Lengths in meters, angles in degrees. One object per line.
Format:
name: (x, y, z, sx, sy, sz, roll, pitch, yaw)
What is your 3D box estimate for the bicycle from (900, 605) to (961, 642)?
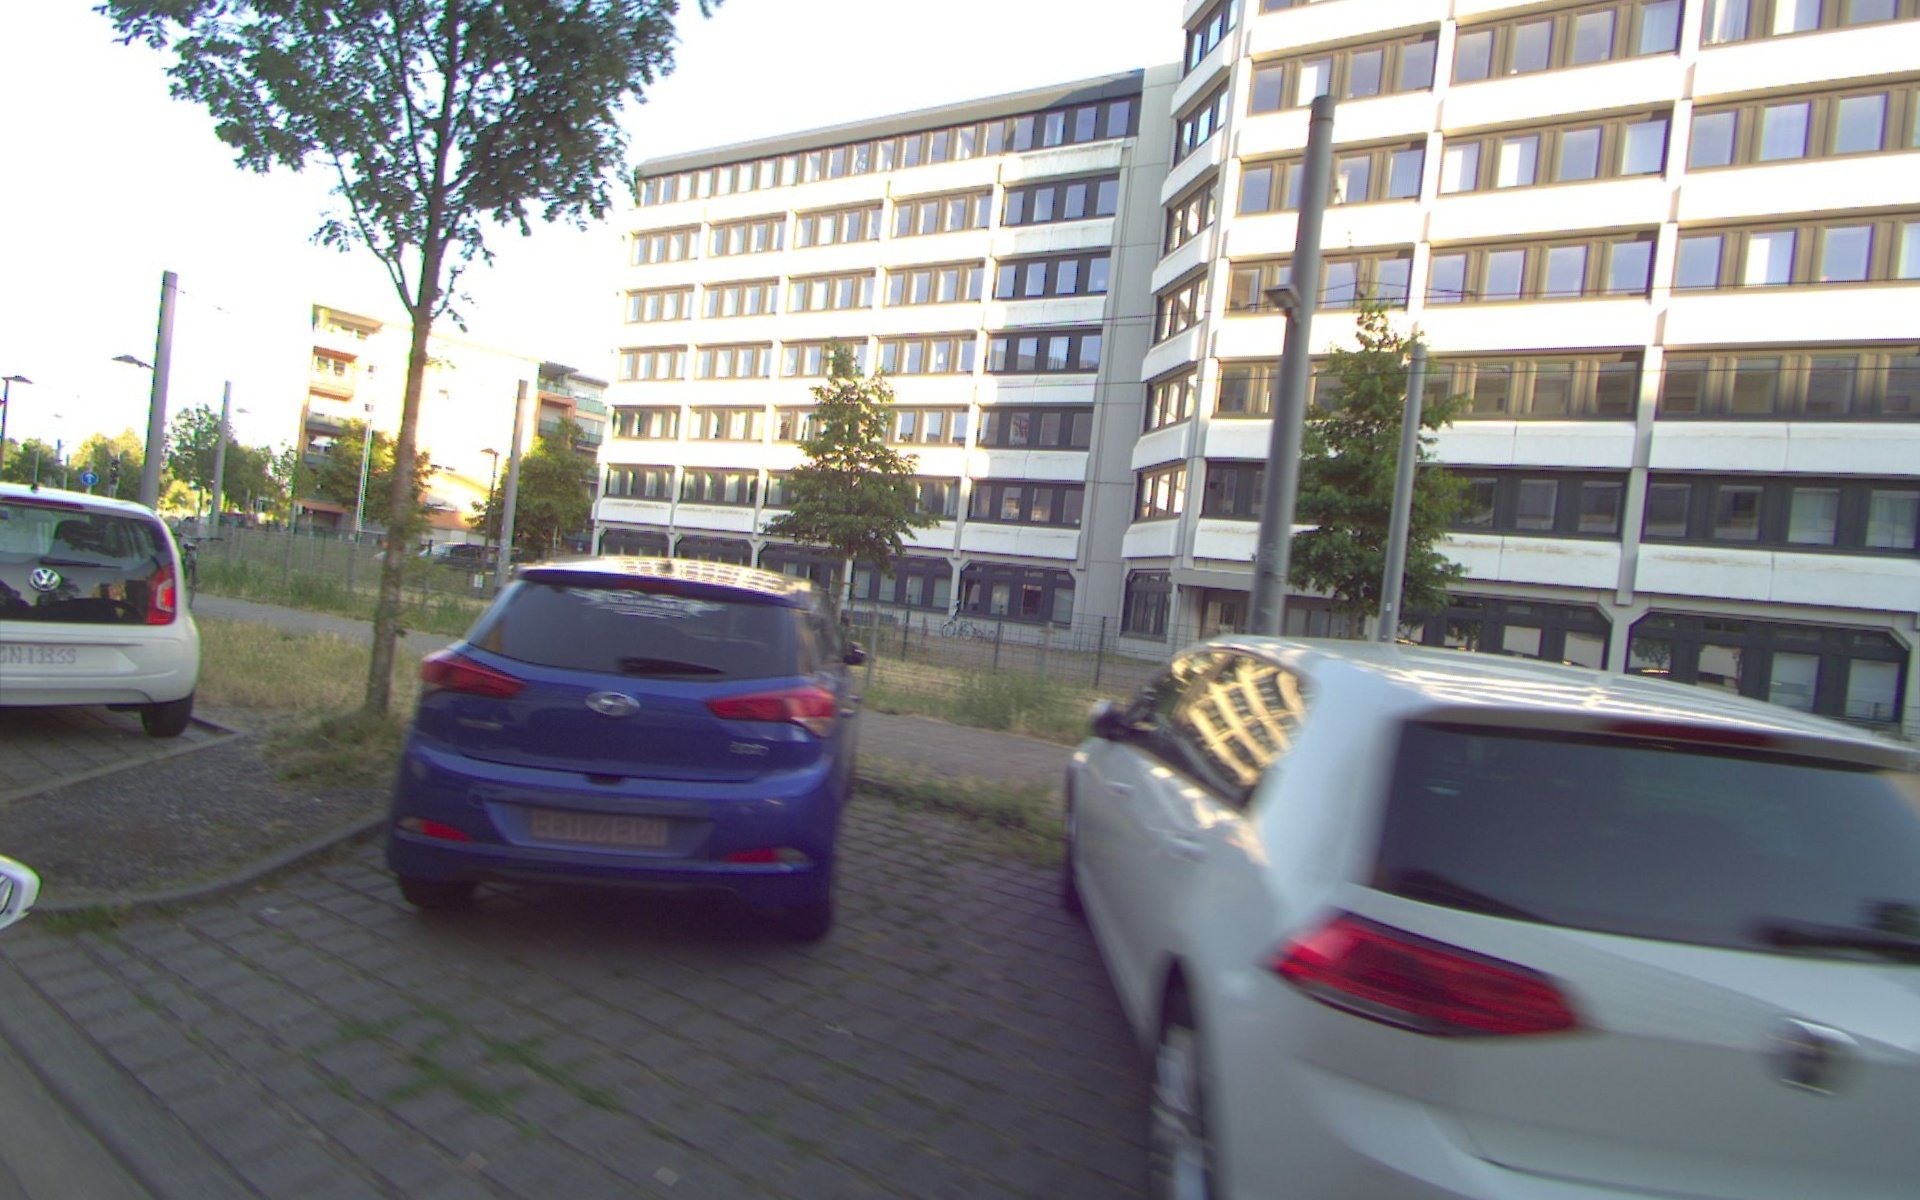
bicycle: (-1.249, 1.003, 42.768, 2.391, 1.214, 0.830, 7, -2, 31)

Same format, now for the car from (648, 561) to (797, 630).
car: (-7.136, -0.085, 30.669, 1.665, 1.622, 4.502, 7, 0, 30)

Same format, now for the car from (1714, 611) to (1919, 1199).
car: (3.765, 0.993, 1.788, 1.732, 1.746, 3.779, 8, -1, -2)

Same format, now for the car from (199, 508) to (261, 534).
car: (-63.330, -6.844, 87.337, 4.128, 1.595, 1.687, 7, 0, -35)

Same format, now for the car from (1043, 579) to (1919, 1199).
car: (1.448, 0.803, 3.511, 1.920, 1.529, 3.930, 6, 1, 1)

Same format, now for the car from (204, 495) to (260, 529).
car: (-69.521, -8.363, 96.068, 4.132, 2.616, 1.685, 7, 0, -38)

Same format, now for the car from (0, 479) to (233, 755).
car: (-6.426, -0.056, 6.622, 3.500, 1.486, 1.721, 7, 1, 39)

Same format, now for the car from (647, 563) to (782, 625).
car: (-8.267, -0.157, 34.268, 1.665, 1.622, 4.502, 7, 0, 31)

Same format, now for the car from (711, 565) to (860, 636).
car: (-5.013, 0.077, 29.535, 1.665, 1.622, 4.502, 7, 0, 30)

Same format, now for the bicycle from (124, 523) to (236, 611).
bicycle: (-11.487, -0.489, 14.800, 1.662, 1.096, 0.764, 7, 0, 34)

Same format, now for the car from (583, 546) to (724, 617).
car: (-10.802, -0.614, 35.740, 1.899, 1.960, 4.501, 7, 0, 32)

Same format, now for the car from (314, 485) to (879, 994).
car: (-1.374, 0.526, 5.309, 1.658, 1.527, 3.753, 8, -1, -4)
